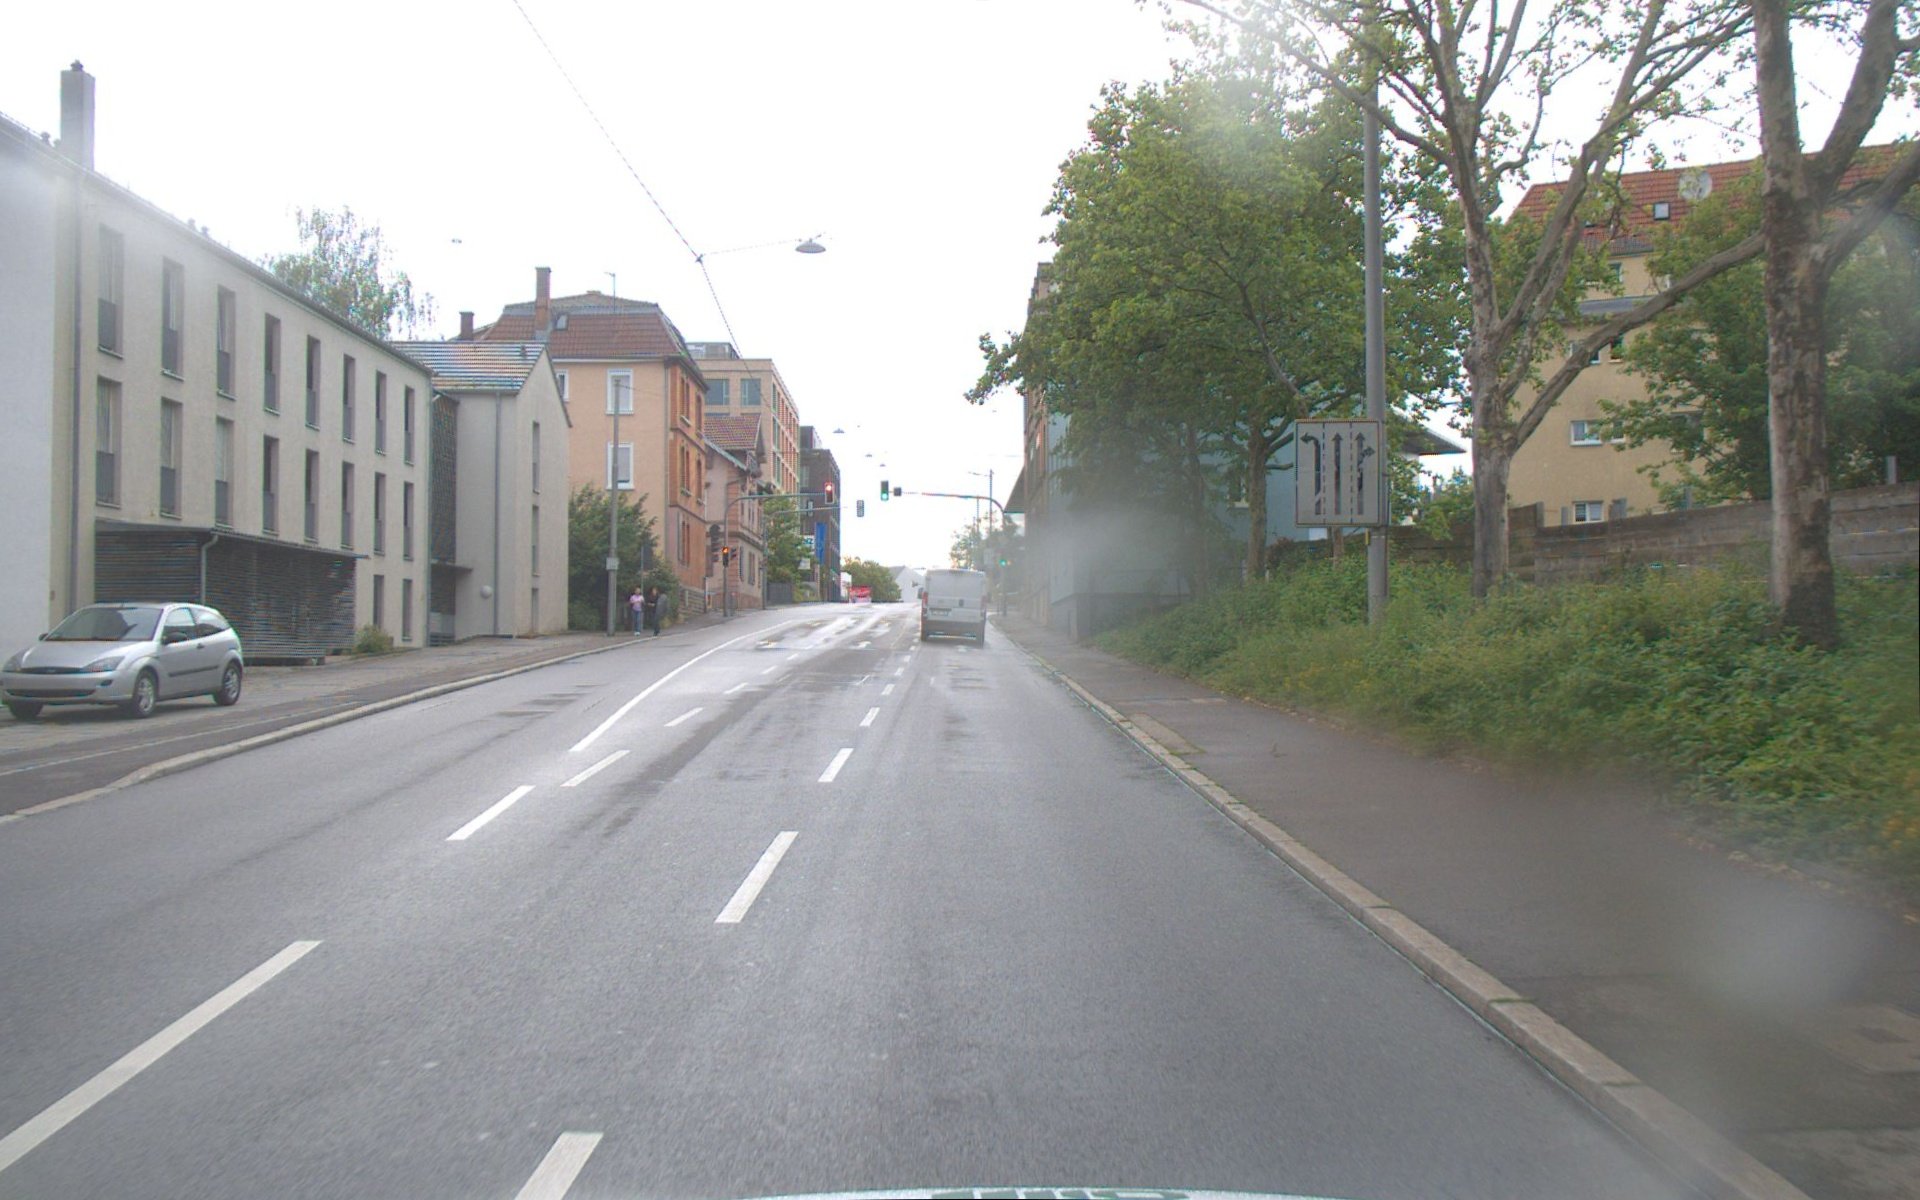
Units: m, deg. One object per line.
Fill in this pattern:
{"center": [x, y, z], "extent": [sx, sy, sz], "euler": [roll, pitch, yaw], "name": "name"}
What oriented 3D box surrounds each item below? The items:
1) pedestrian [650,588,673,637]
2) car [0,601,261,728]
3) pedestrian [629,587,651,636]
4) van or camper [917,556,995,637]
{"center": [-10.717, 0.457, 59.375], "extent": [0.627, 1.736, 0.911], "euler": [1, 0, 0], "name": "pedestrian"}
{"center": [-11.174, 0.789, 22.359], "extent": [1.709, 1.534, 4.177], "euler": [0, 0, -1], "name": "car"}
{"center": [-11.494, 0.404, 59.415], "extent": [0.627, 1.736, 0.911], "euler": [1, 0, 0], "name": "pedestrian"}
{"center": [-0.121, -0.084, 52.470], "extent": [2.292, 2.398, 5.199], "euler": [1, 0, 0], "name": "van or camper"}
